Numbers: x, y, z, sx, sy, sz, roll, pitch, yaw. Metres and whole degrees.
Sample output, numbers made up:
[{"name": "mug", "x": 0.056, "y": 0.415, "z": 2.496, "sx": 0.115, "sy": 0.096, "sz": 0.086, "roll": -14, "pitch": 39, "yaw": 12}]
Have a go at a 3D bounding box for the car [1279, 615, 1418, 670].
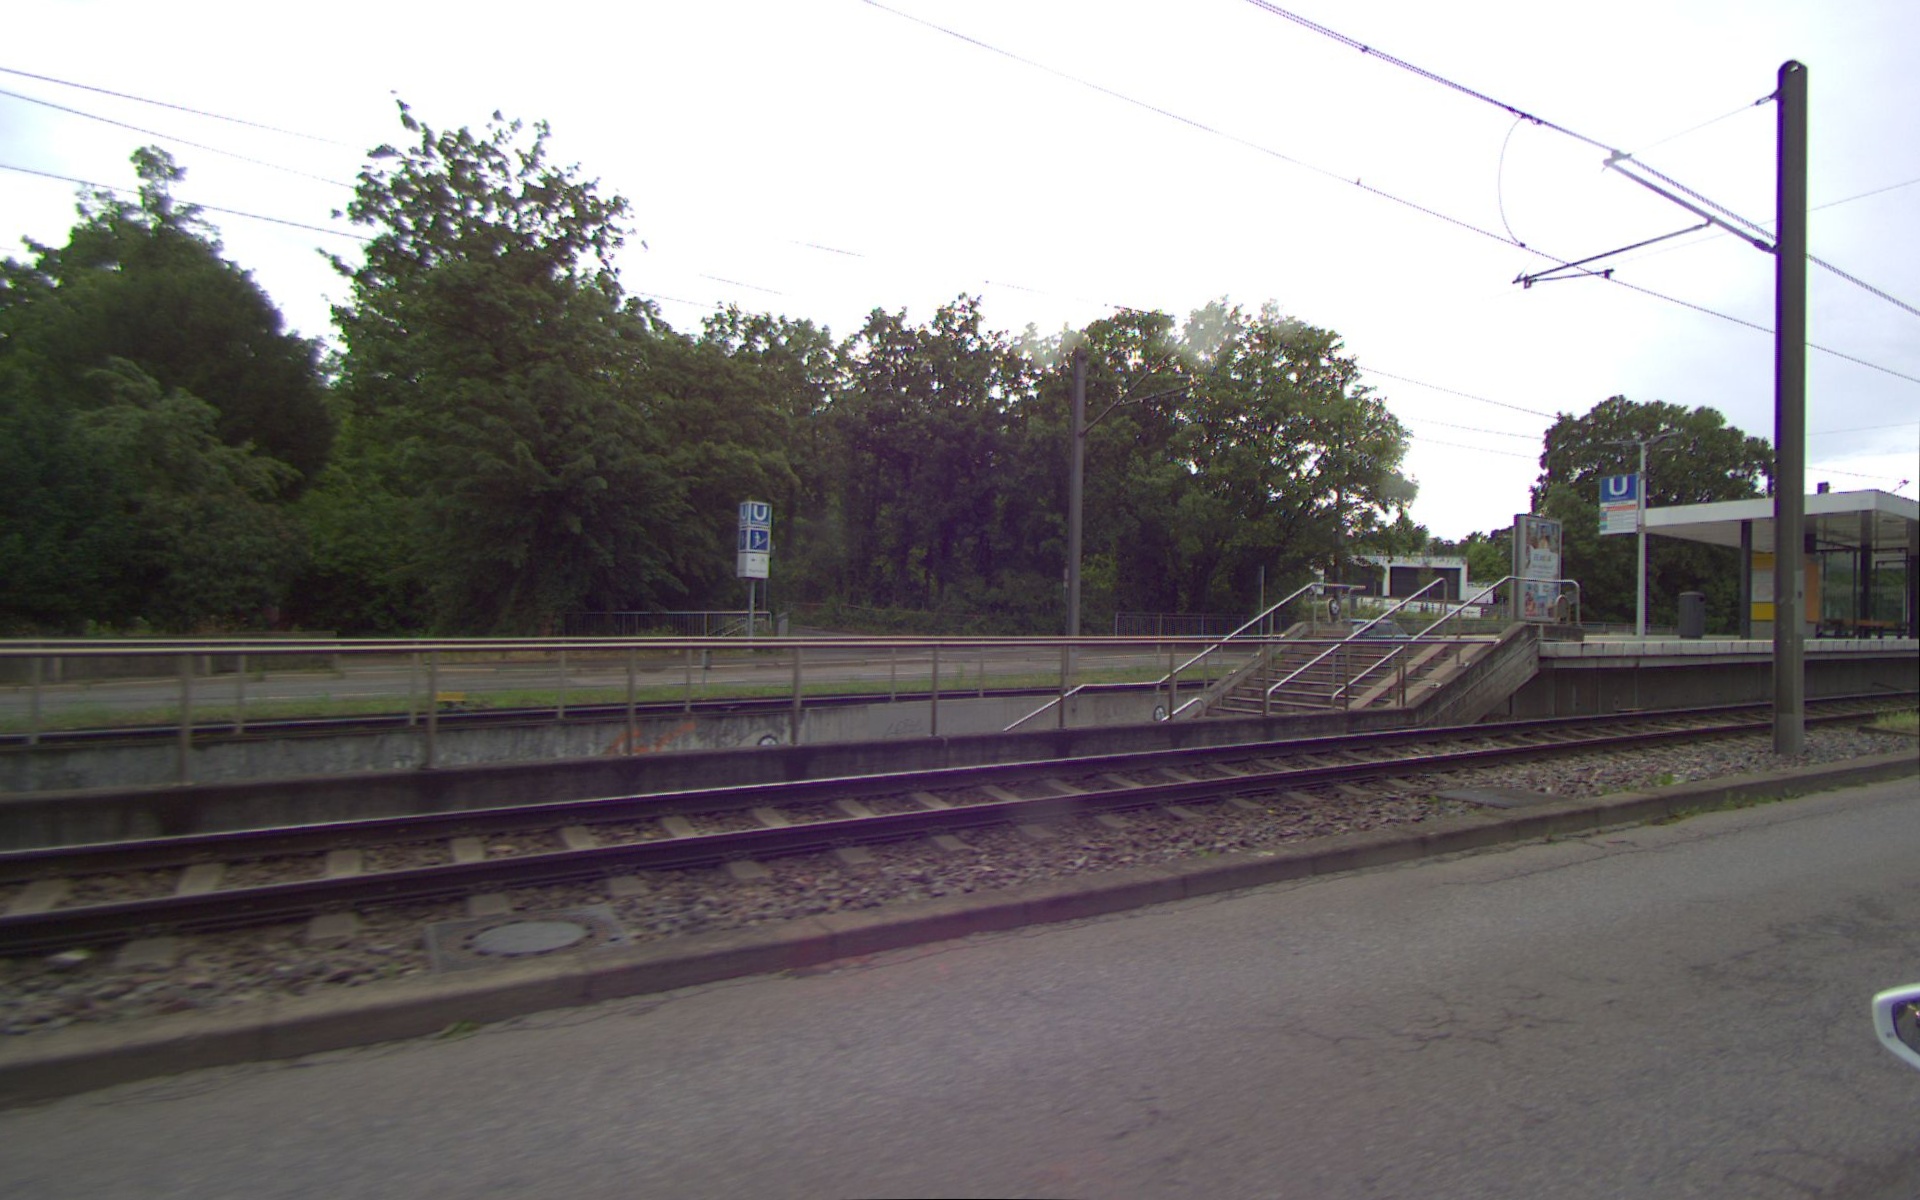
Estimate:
[{"name": "car", "x": 12.560, "y": 1.328, "z": 32.401, "sx": 4.469, "sy": 1.645, "sz": 1.982, "roll": 1, "pitch": -1, "yaw": -33}]
